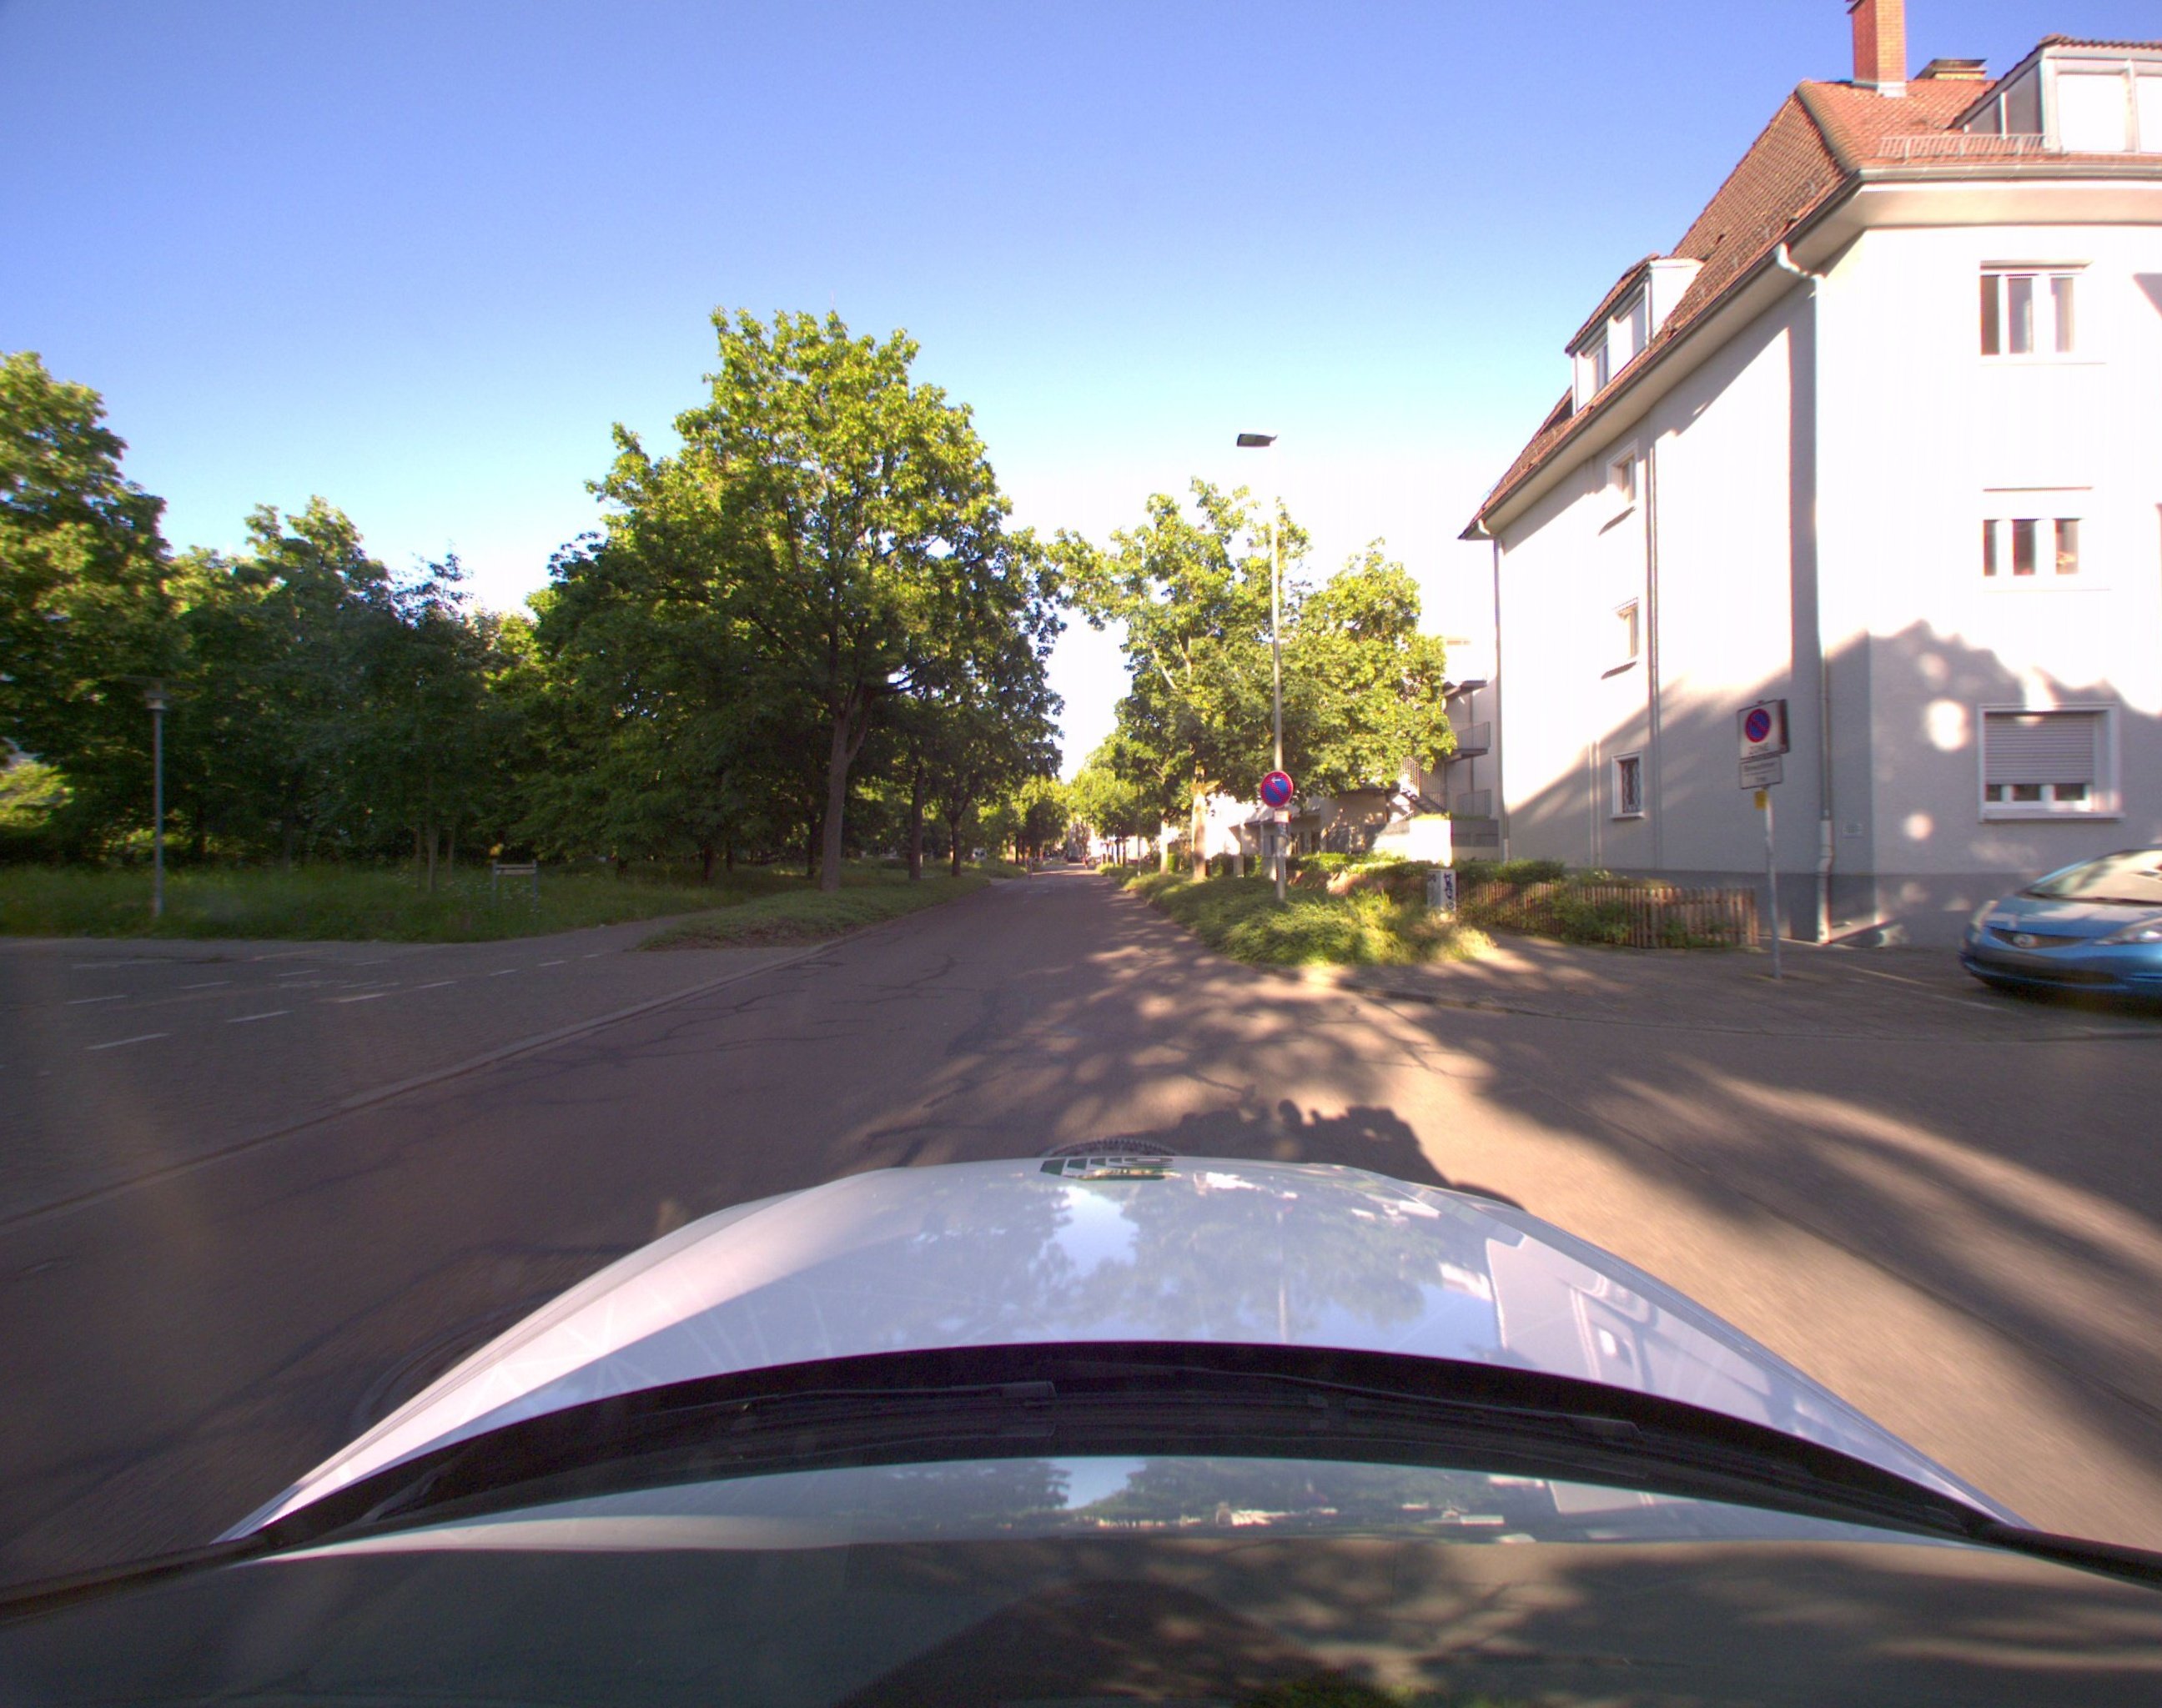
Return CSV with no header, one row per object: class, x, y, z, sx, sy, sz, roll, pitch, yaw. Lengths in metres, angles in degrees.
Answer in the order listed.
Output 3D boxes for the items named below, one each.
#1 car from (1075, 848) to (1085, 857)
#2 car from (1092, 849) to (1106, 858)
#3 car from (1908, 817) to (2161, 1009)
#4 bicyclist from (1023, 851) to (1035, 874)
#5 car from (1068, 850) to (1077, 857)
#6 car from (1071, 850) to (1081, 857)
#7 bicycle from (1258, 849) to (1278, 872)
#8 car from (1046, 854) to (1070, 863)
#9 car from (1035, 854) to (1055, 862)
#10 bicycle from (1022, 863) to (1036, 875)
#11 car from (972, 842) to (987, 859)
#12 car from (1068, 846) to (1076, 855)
car,-0.214,-0.352,170.219,1.808,1.925,3.994,0,0,-4
car,3.090,-0.014,141.628,1.810,1.501,3.989,-1,0,-8
car,10.639,0.433,7.664,3.975,1.581,1.809,-1,1,-1
bicyclist,-3.617,0.556,56.429,0.630,1.555,1.003,-2,0,3
car,-1.993,-0.178,184.858,1.808,1.501,3.994,0,0,-4
car,-1.098,-0.168,178.340,1.808,1.501,3.994,0,0,-4
bicycle,9.861,0.344,42.988,0.616,1.191,1.753,0,0,-1
car,-3.988,0.799,139.461,3.985,1.501,1.812,0,0,-9
car,-6.713,0.749,151.578,3.586,1.510,1.496,0,0,-9
bicycle,-3.589,1.053,56.441,0.636,0.742,2.128,-2,0,4
car,-14.649,-0.519,117.812,1.993,2.508,3.987,0,0,-9
car,-2.177,-0.848,195.064,1.808,2.050,3.994,0,0,-4
